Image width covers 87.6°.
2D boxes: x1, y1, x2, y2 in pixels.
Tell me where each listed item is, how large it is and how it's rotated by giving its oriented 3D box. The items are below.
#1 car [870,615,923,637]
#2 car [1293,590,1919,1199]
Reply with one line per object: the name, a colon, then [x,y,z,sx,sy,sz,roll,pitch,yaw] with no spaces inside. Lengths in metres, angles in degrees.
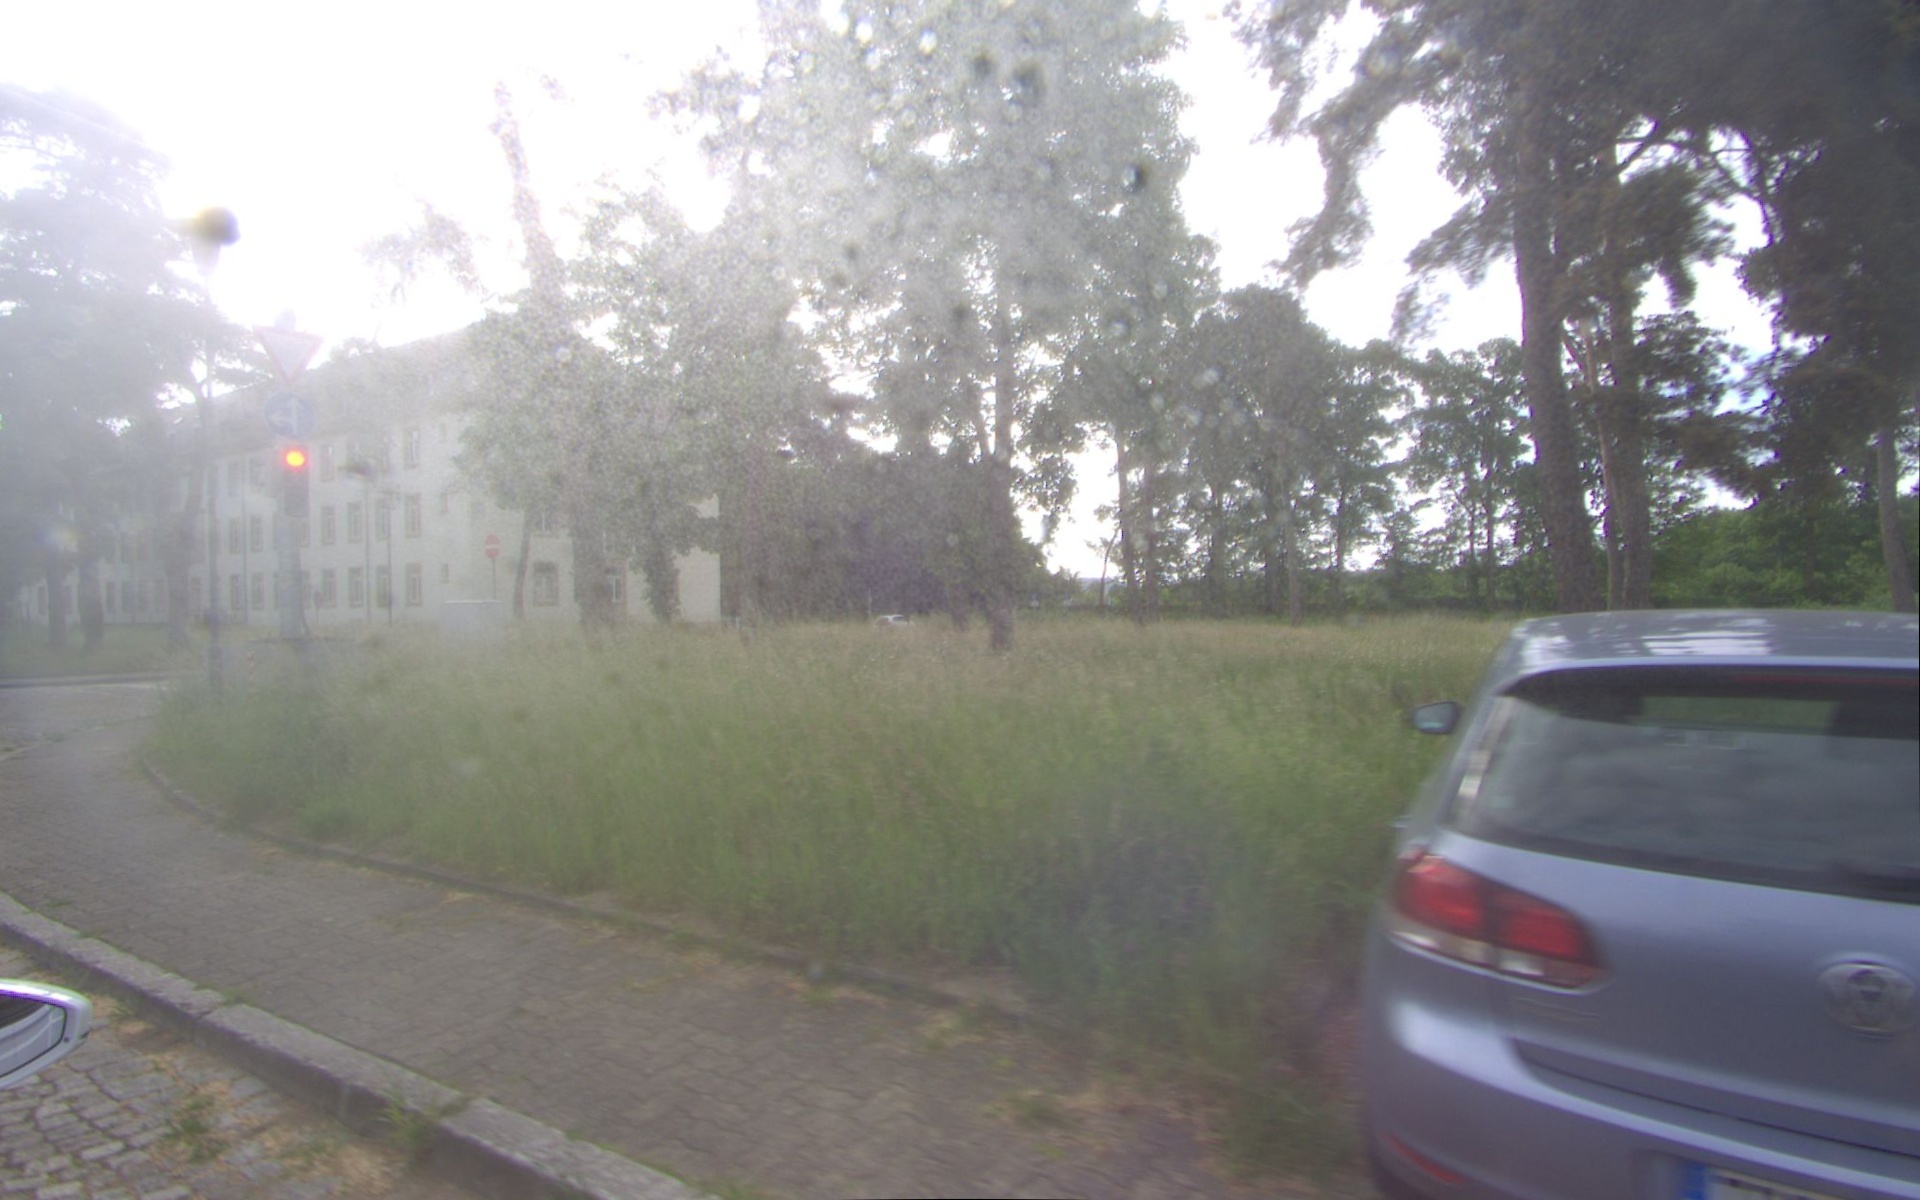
car: [-4.429,1.852,70.492,1.628,1.439,3.939,-1,-4,35]
car: [2.503,0.750,3.424,1.620,1.497,3.916,0,1,34]
